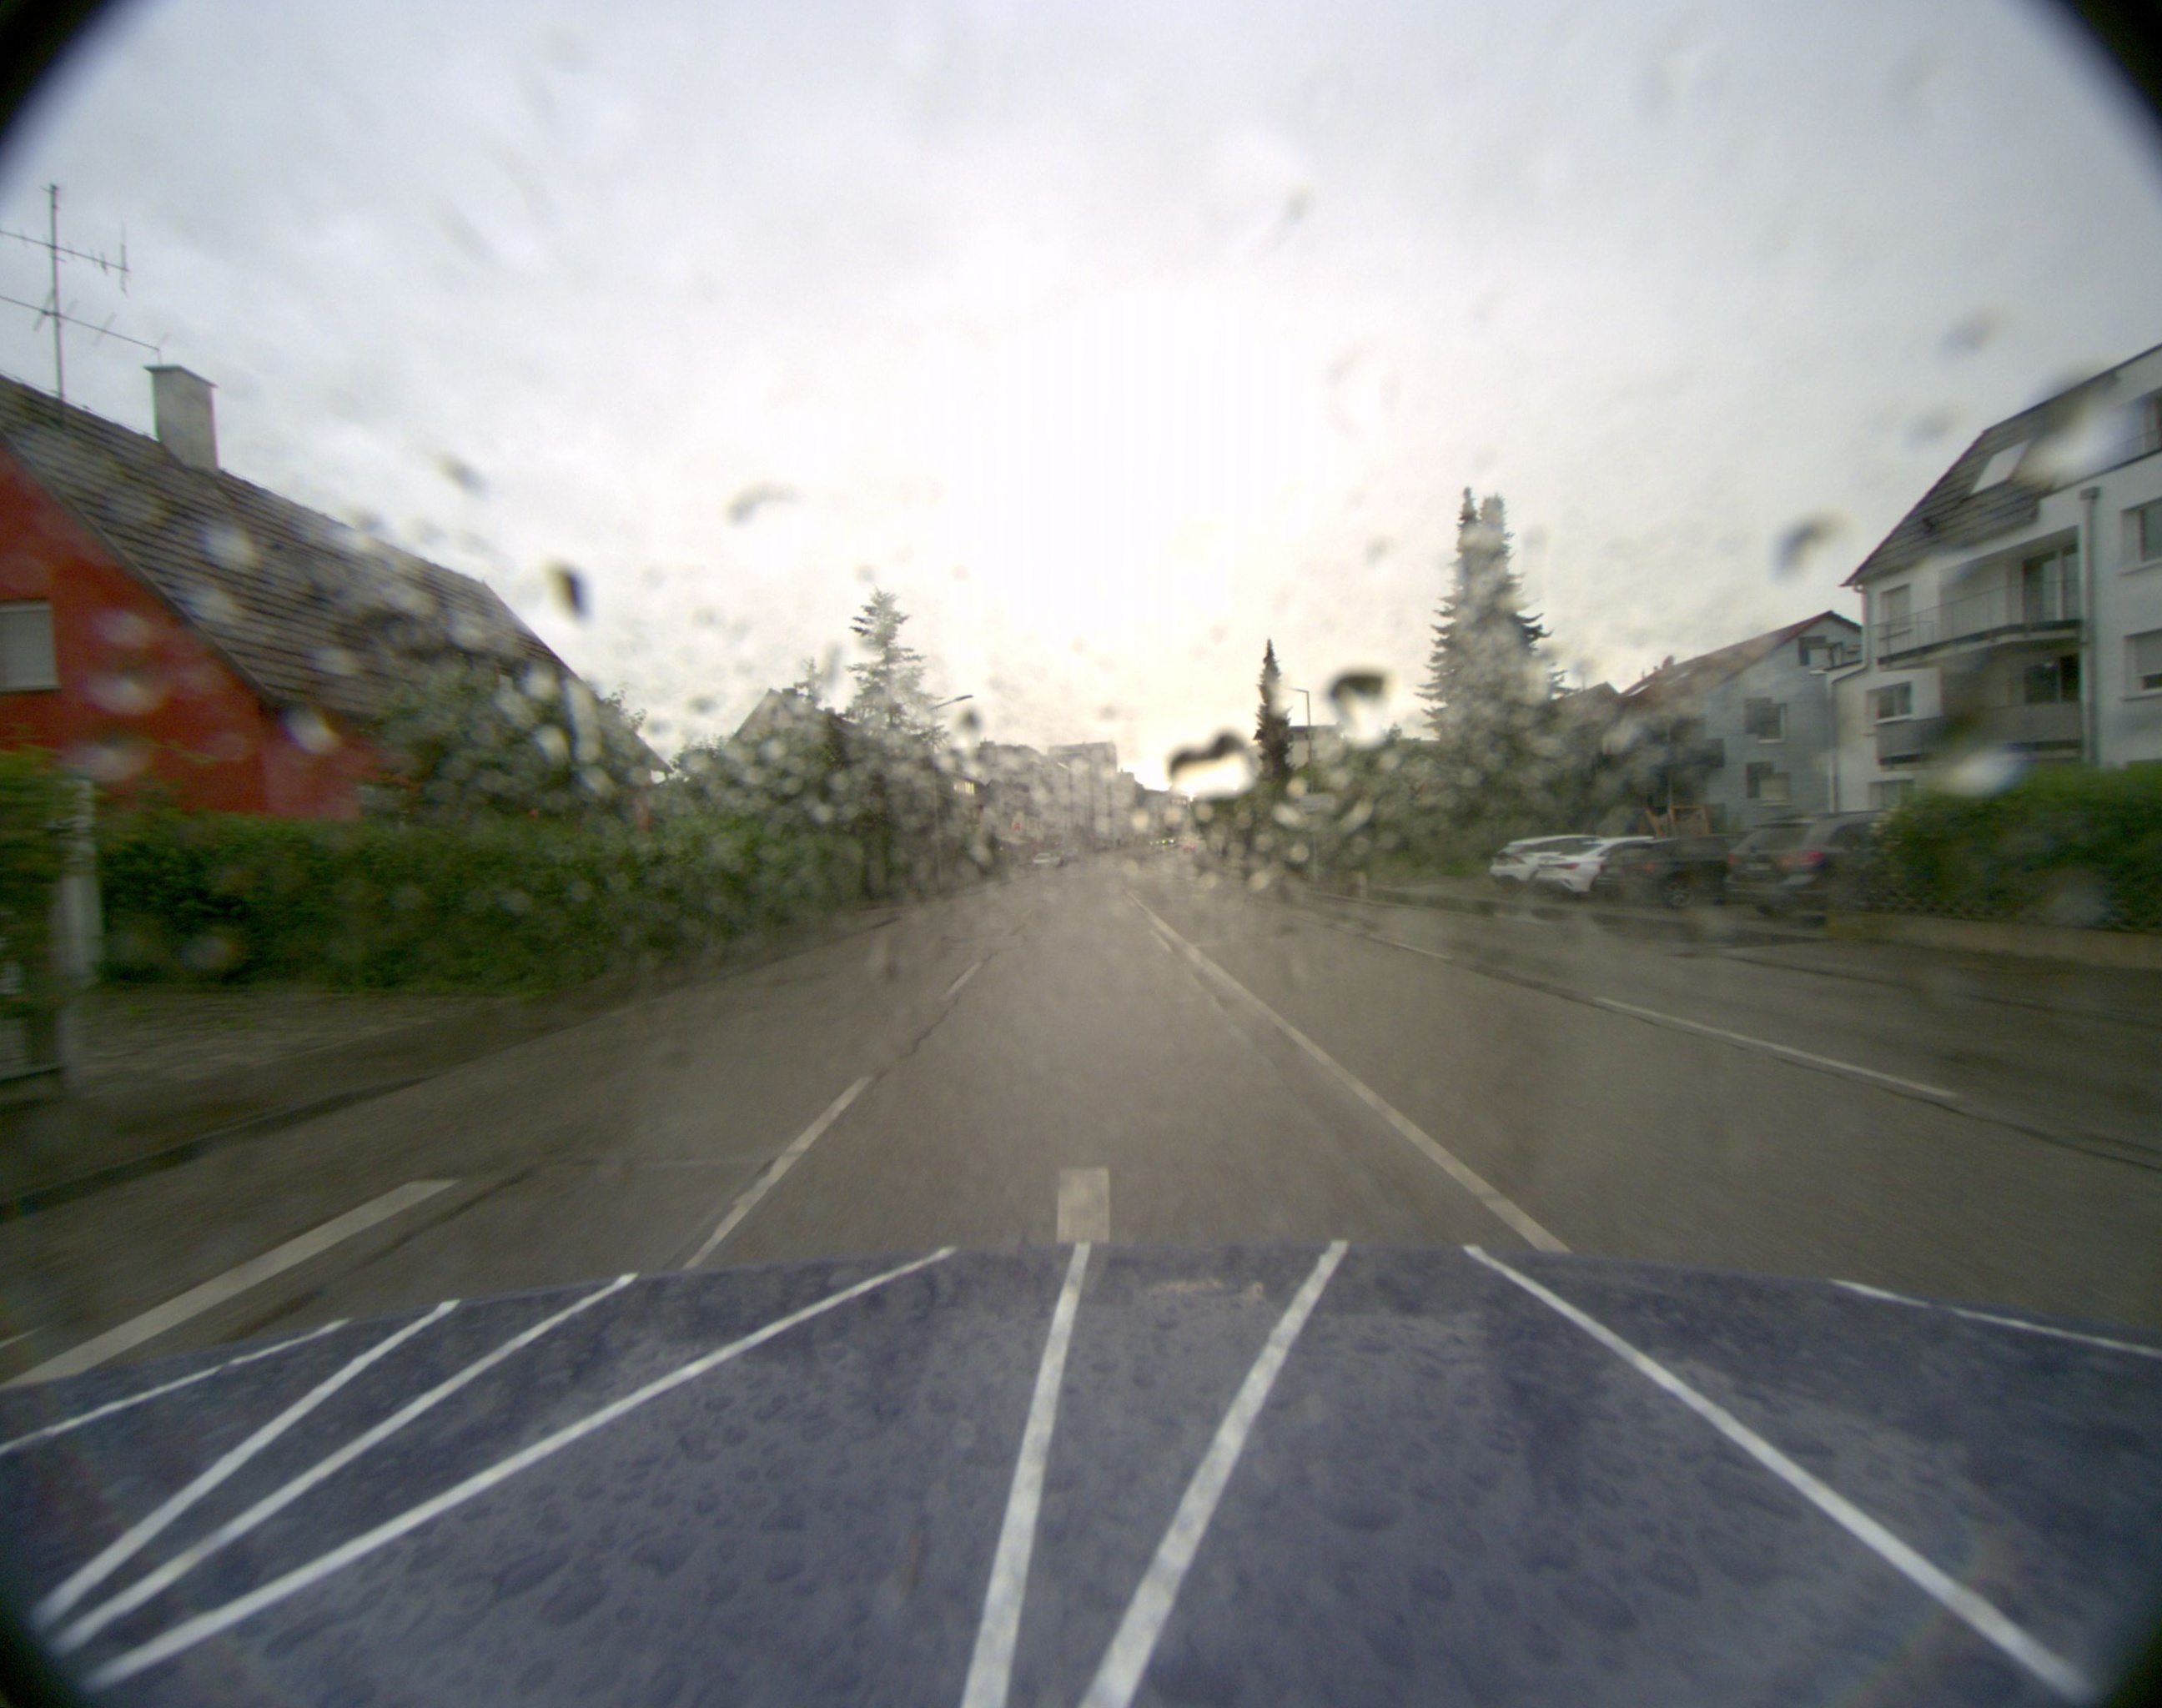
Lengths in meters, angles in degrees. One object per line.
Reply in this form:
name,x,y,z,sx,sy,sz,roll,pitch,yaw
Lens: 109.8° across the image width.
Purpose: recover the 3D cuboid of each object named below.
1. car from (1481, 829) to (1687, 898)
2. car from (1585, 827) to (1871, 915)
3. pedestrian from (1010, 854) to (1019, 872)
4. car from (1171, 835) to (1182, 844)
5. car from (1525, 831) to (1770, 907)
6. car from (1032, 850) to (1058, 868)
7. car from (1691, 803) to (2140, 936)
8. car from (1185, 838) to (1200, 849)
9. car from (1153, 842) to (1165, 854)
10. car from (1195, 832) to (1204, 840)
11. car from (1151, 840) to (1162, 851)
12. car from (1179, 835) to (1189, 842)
car,13.424,0.242,20.509,4.114,1.536,2.001,-4,0,6
car,12.852,0.333,15.335,4.034,1.434,1.813,-4,0,6
pedestrian,-6.081,0.820,69.735,0.696,1.622,0.621,-2,1,-1
car,19.094,-2.962,152.150,1.850,1.753,4.124,-2,0,10
car,13.067,0.331,17.792,4.155,1.434,1.891,-4,0,8
car,-3.311,0.449,71.424,1.912,1.622,3.703,-2,0,5
car,12.718,0.233,11.920,4.467,1.651,2.001,-4,0,8
car,17.374,-1.679,118.385,1.997,1.606,4.003,-2,0,11
car,12.501,-0.937,121.851,1.851,1.870,4.122,-2,1,5
car,30.735,-4.685,197.514,1.850,1.753,4.125,-2,0,14
car,12.793,-1.386,128.806,1.851,1.753,4.122,-2,0,6
car,26.031,-3.943,192.285,1.850,1.753,4.125,-2,0,14
